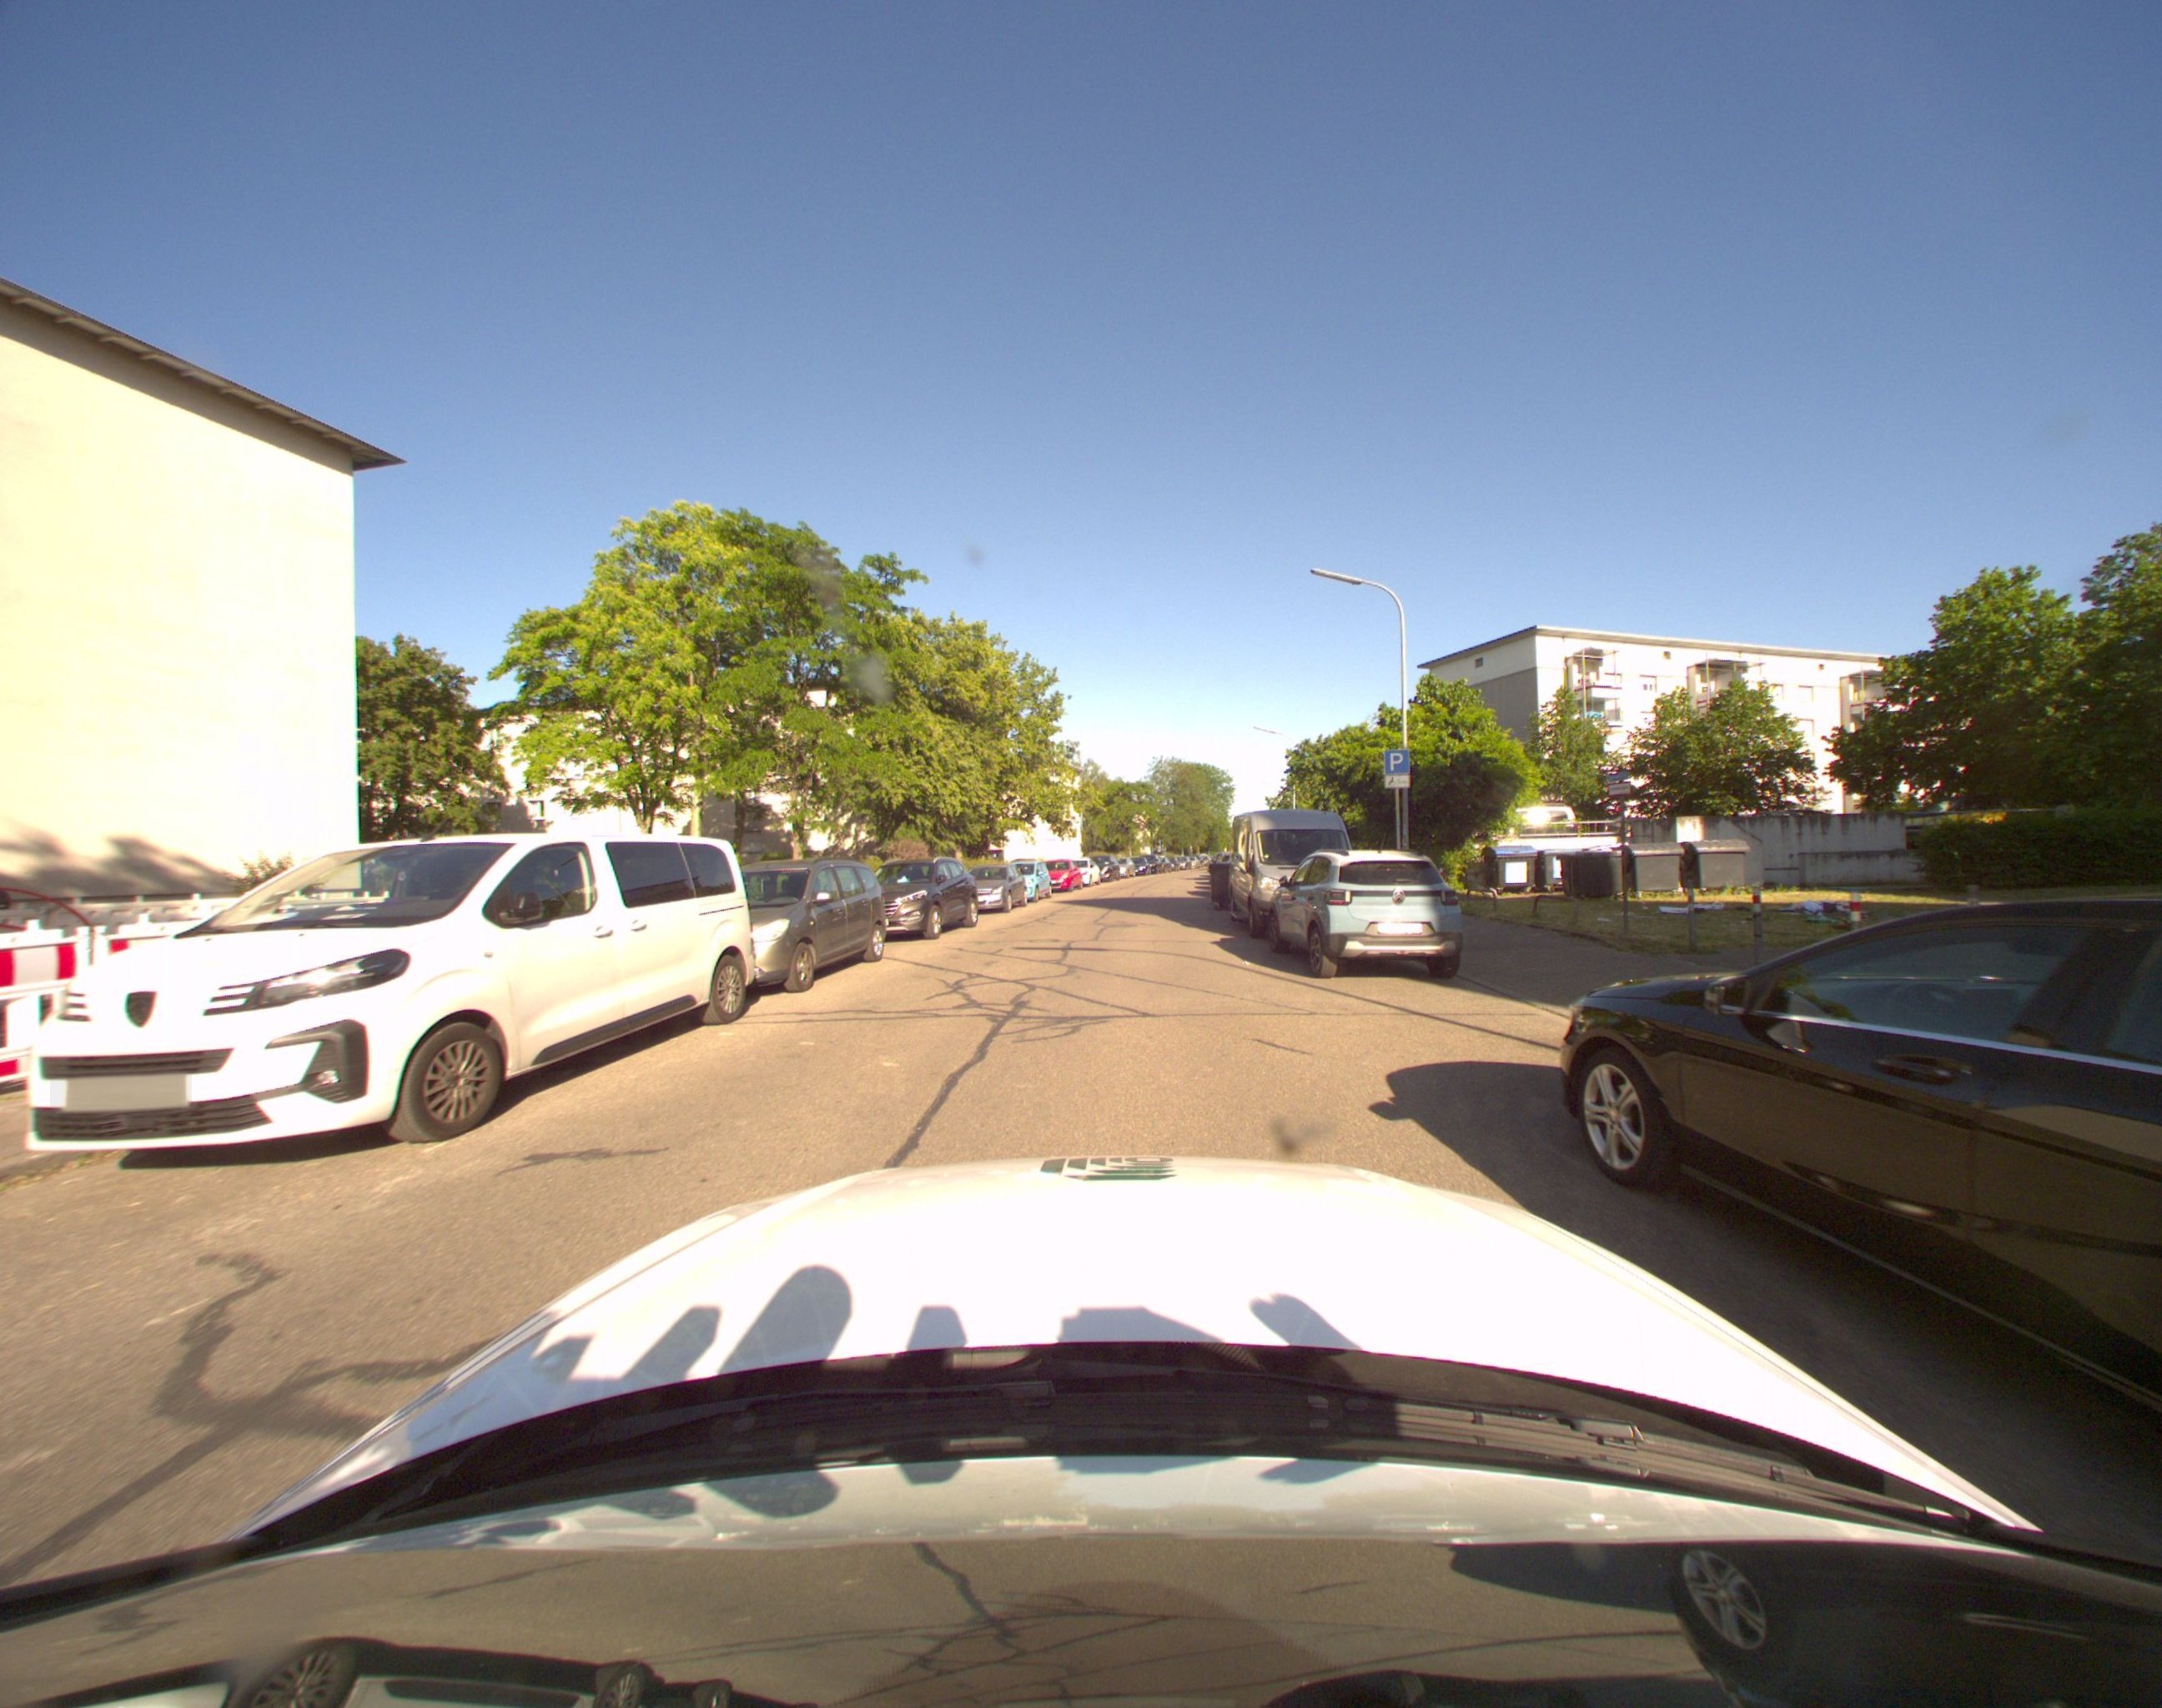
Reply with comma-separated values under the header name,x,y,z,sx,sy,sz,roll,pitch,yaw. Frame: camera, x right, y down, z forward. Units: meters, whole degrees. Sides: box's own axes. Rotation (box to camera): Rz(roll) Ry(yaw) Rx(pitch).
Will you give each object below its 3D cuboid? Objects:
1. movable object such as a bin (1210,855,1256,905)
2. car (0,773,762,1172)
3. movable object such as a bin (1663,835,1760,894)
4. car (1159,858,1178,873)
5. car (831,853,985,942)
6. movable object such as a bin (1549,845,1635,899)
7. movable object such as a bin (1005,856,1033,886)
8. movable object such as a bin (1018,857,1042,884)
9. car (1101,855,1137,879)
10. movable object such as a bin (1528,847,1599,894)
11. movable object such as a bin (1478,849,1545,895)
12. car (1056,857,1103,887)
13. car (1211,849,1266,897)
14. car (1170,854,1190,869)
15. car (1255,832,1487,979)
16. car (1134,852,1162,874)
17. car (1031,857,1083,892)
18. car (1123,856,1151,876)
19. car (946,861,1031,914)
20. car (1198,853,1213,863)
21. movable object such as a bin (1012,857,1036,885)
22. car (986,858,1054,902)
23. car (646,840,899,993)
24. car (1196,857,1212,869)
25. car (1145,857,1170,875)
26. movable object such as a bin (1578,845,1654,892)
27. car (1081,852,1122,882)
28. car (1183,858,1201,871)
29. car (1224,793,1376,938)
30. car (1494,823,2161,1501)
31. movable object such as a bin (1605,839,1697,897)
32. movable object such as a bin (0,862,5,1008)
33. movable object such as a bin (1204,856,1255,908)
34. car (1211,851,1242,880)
name,x,y,z,sx,sy,sz,roll,pitch,yaw
movable object such as a bin,4.437,0.745,23.706,1.219,1.397,1.175,-1,-1,14
car,-4.511,0.608,6.432,1.855,1.961,4.674,-2,0,3
movable object such as a bin,15.916,0.265,20.615,1.418,1.373,1.386,-3,-1,10
car,8.496,1.121,79.206,1.379,1.413,3.136,-3,-1,13
car,-3.511,0.815,17.411,1.738,1.617,4.373,-2,0,8
movable object such as a bin,13.022,0.454,20.826,1.404,1.305,1.386,-2,-1,10
movable object such as a bin,-3.201,0.872,42.172,1.105,1.498,1.411,-1,0,7
movable object such as a bin,-2.822,0.919,45.134,0.982,1.418,1.318,-1,0,9
car,2.634,0.846,55.282,1.649,1.486,4.067,-3,-1,13
movable object such as a bin,14.357,0.493,24.291,1.404,1.305,1.386,-2,-1,10
movable object such as a bin,12.932,0.528,24.526,1.404,1.305,1.386,-2,-1,10
car,-0.025,0.921,42.511,1.659,1.421,3.913,-2,-1,11
car,5.830,0.657,30.522,1.799,1.664,4.472,0,0,8
car,10.435,0.781,85.673,1.498,1.451,3.707,-3,-1,17
car,3.834,0.615,11.653,1.902,1.666,4.377,-1,-1,2
car,5.480,0.702,66.397,1.649,1.688,4.063,-3,-1,13
car,-1.024,0.901,37.062,1.661,1.474,3.687,-3,-1,9
car,4.201,0.879,60.848,1.650,1.426,4.059,-3,-1,9
car,-2.741,0.958,24.965,1.661,1.437,4.007,-3,-1,7
car,17.215,0.538,112.568,1.498,1.329,3.482,-3,-1,17
movable object such as a bin,-3.060,0.912,43.812,0.983,1.418,1.317,-1,0,7
car,-2.175,0.912,29.969,1.661,1.474,3.687,-3,-1,9
car,-4.035,0.723,11.503,1.548,1.722,4.347,-2,0,5
car,16.291,1.185,107.585,1.498,1.381,3.482,-3,-1,17
car,6.728,1.043,71.324,1.649,1.439,3.773,-3,-1,13
movable object such as a bin,15.775,0.427,24.081,1.404,1.305,1.386,-2,-1,10
car,1.279,0.763,49.207,1.659,1.666,4.419,-3,-1,11
car,12.531,1.156,91.918,1.498,1.364,3.482,-3,-1,17
car,4.274,0.211,16.909,2.094,2.486,5.864,0,0,5
car,3.347,0.662,2.659,1.902,1.488,4.377,-1,-1,2
movable object such as a bin,14.460,0.352,20.738,1.418,1.373,1.386,-3,-1,10
movable object such as a bin,-11.030,0.783,7.223,1.271,1.402,1.262,-1,-1,1
movable object such as a bin,4.128,0.770,22.573,1.260,1.313,1.127,-2,1,14
car,8.634,0.653,48.365,1.719,1.619,4.245,0,0,10
